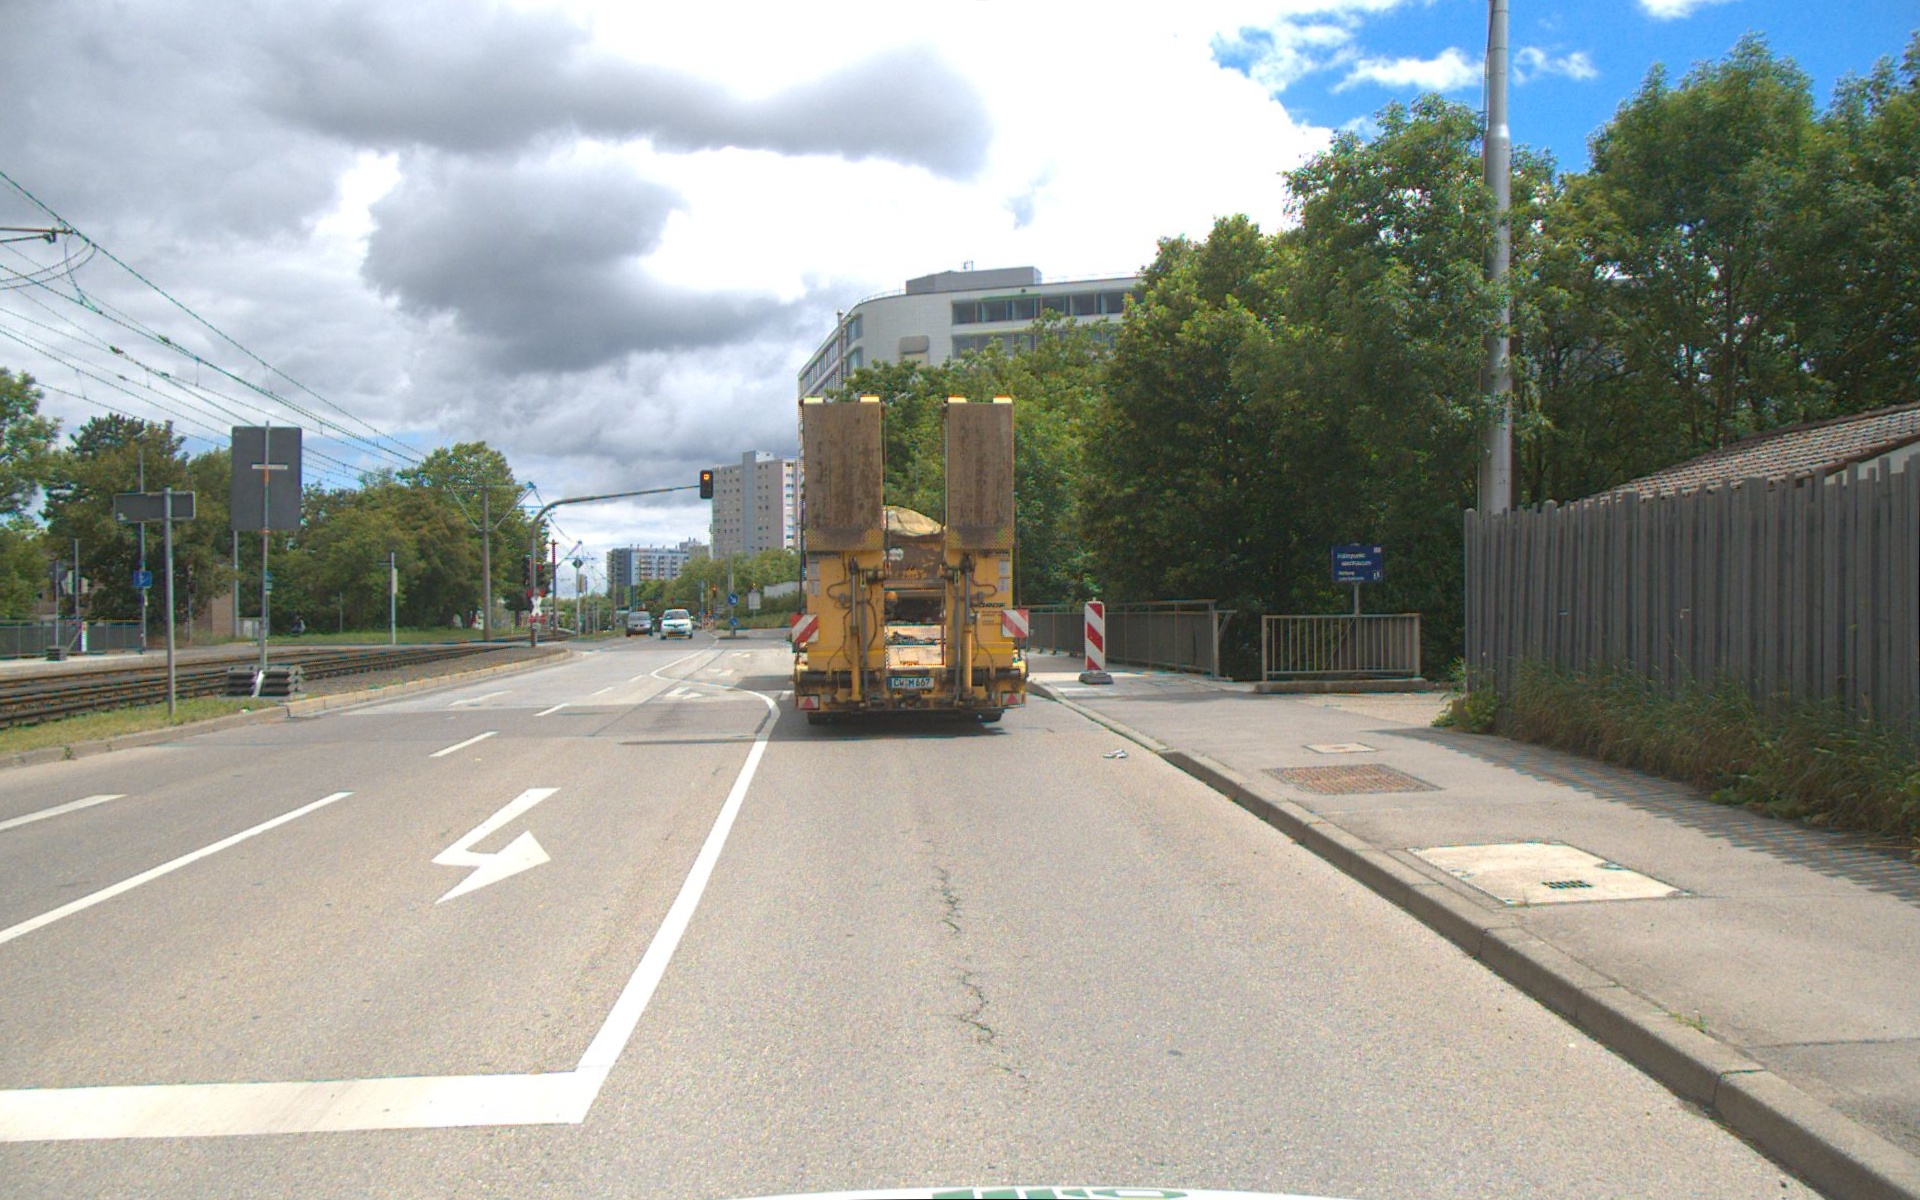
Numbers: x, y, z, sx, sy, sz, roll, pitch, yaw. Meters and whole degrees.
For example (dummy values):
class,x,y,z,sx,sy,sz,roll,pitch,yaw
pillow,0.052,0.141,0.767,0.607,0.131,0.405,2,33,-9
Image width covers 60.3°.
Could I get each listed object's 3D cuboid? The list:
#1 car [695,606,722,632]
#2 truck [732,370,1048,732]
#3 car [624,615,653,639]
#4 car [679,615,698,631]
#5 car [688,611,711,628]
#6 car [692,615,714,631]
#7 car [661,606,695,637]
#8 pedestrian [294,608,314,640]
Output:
class,x,y,z,sx,sy,sz,roll,pitch,yaw
car,-19.113,1.444,126.004,1.956,1.959,3.992,1,-1,-8
truck,-1.051,-0.432,23.411,3.250,3.715,12.553,1,-1,-3
car,-21.537,1.804,110.962,1.751,1.597,4.335,-1,-1,-9
car,-29.975,2.517,182.637,1.956,1.646,3.992,1,-1,-8
car,-23.426,1.749,148.669,1.956,1.445,3.992,1,-1,-8
car,-24.634,2.213,158.573,1.956,1.445,3.992,1,-1,-8
car,-15.045,1.151,88.237,1.563,1.553,3.649,-1,-1,-7
pedestrian,-37.250,1.358,93.903,0.786,1.843,0.808,1,-1,-5
